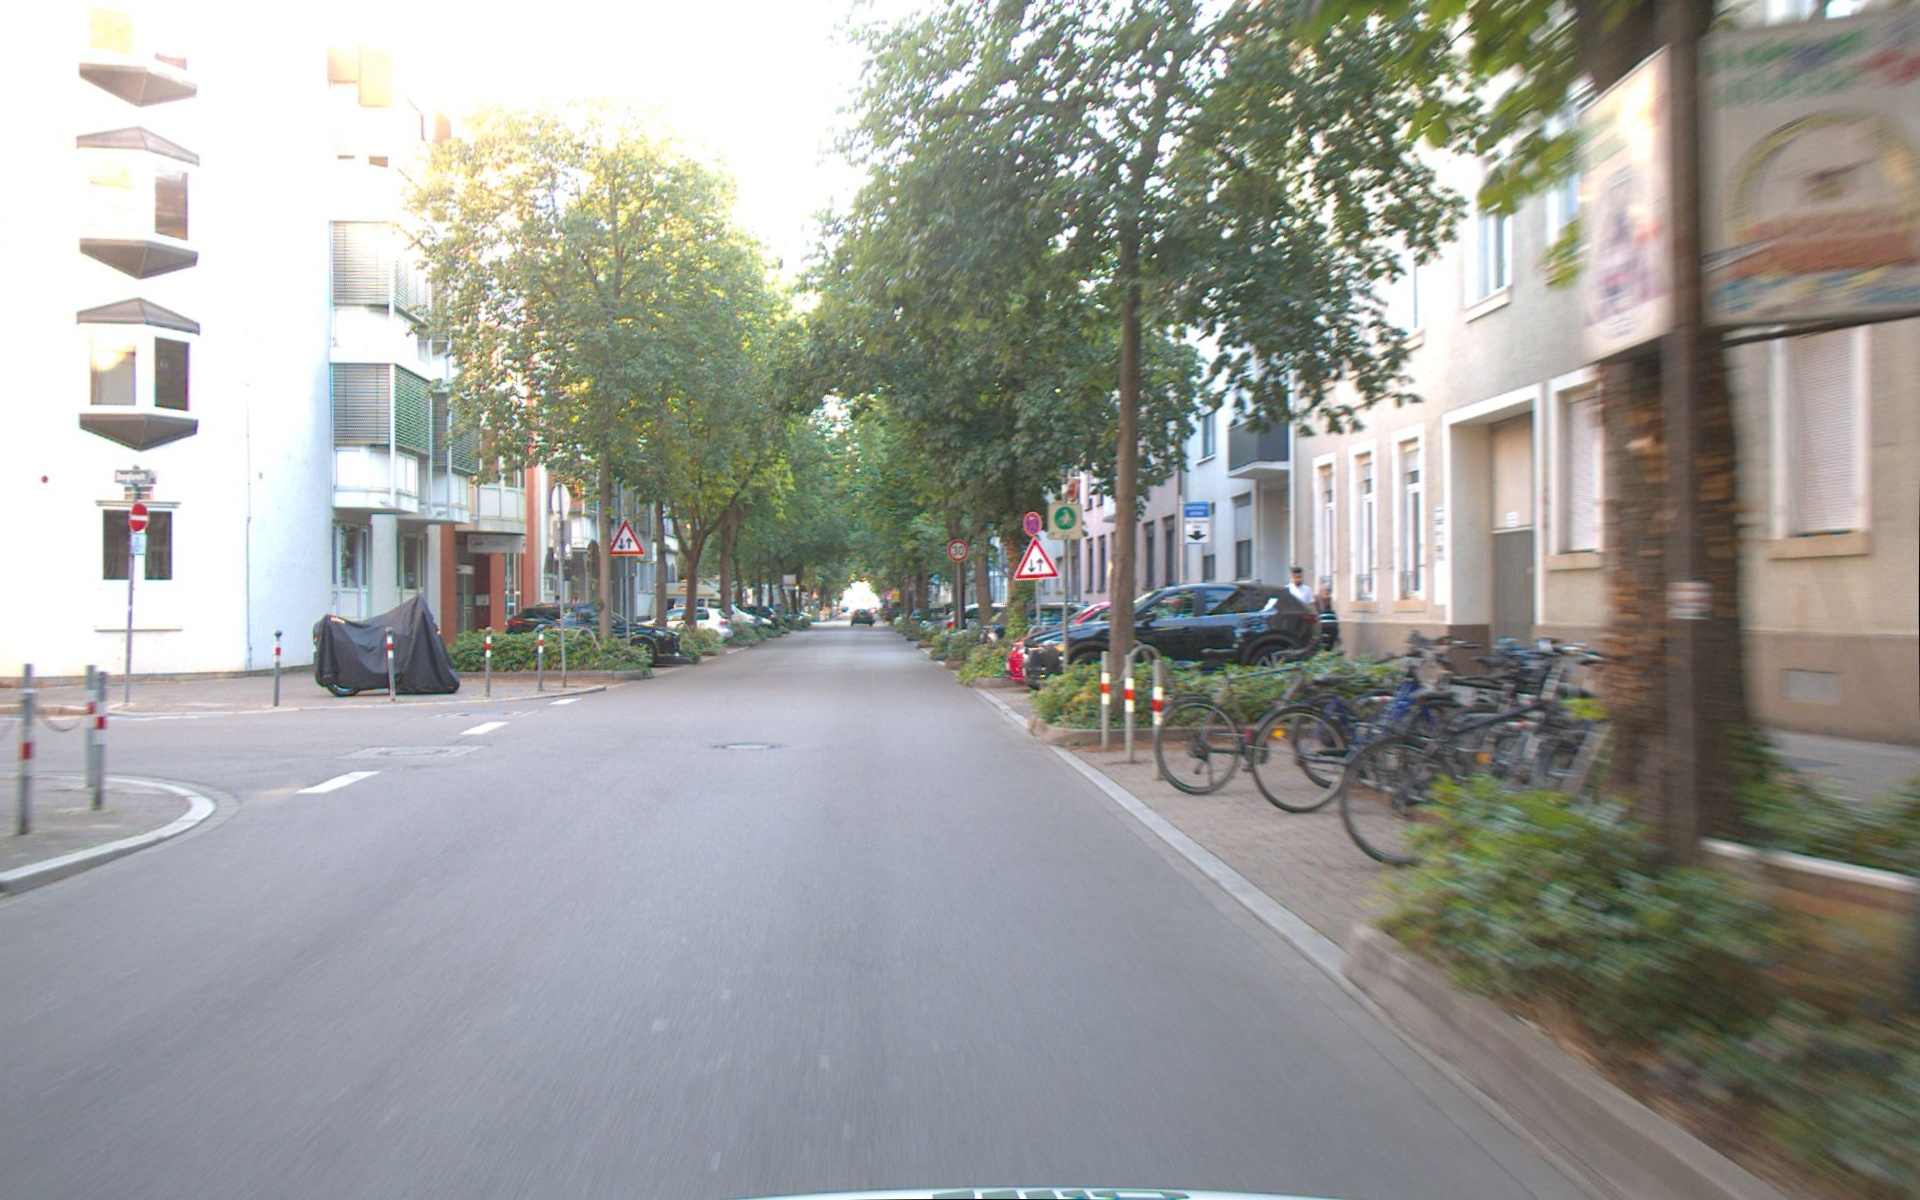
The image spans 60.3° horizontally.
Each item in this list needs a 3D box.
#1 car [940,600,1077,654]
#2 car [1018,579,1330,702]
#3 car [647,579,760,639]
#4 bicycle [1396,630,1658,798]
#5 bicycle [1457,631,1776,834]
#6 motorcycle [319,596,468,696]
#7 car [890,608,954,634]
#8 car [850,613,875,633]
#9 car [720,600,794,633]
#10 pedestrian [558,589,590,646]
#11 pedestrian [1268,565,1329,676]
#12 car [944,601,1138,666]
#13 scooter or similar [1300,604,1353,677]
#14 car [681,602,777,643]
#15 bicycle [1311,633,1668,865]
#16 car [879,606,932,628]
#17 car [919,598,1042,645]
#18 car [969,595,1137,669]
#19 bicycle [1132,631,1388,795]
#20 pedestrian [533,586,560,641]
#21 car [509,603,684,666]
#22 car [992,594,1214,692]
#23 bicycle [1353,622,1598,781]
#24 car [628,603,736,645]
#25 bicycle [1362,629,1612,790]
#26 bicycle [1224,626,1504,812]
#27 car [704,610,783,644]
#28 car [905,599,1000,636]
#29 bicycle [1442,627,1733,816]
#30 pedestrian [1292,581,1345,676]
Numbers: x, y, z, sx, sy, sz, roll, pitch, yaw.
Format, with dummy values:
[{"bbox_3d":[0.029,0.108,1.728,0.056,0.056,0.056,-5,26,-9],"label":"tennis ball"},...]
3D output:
[{"bbox_3d":[1.417,0.778,49.161,3.802,1.465,1.845,-2,0,-7],"label":"car"},{"bbox_3d":[3.101,0.574,24.611,4.337,1.685,1.899,-1,0,-2],"label":"car"},{"bbox_3d":[-10.948,0.384,70.809,4.589,2.521,1.998,0,-1,-4],"label":"car"},{"bbox_3d":[4.132,0.813,12.078,1.761,1.127,0.499,-2,0,-9],"label":"bicycle"},{"bbox_3d":[4.113,0.804,10.406,1.761,1.148,0.662,-2,0,-10],"label":"bicycle"},{"bbox_3d":[-8.863,0.698,25.890,2.178,1.507,0.854,0,1,-22],"label":"motorcycle"},{"bbox_3d":[-2.578,1.420,111.428,4.184,1.593,1.961,-2,-1,-4],"label":"car"},{"bbox_3d":[-7.906,1.856,134.423,1.918,1.593,4.279,-2,0,-3],"label":"car"},{"bbox_3d":[-13.480,1.109,110.011,4.668,2.019,1.961,-2,-1,-4],"label":"car"},{"bbox_3d":[-12.199,0.555,52.214,0.688,1.788,0.740,0,-1,20],"label":"pedestrian"},{"bbox_3d":[5.479,0.322,26.779,0.683,1.767,0.666,-1,0,-35],"label":"pedestrian"},{"bbox_3d":[1.975,0.811,41.360,4.618,1.446,2.034,-2,0,-4],"label":"car"},{"bbox_3d":[6.055,0.659,27.331,0.642,1.173,0.831,-1,0,-3],"label":"scooter or similar"},{"bbox_3d":[-11.574,1.131,83.224,4.590,1.886,1.961,-2,-1,-4],"label":"car"},{"bbox_3d":[2.989,0.820,9.421,1.794,1.199,0.672,-2,0,-5],"label":"bicycle"},{"bbox_3d":[-4.431,1.361,134.293,4.184,1.593,1.961,-2,-1,-4],"label":"car"},{"bbox_3d":[0.761,0.793,63.090,4.622,1.740,1.949,0,0,-2],"label":"car"},{"bbox_3d":[2.013,0.682,36.451,3.416,1.478,1.897,-2,0,-6],"label":"car"},{"bbox_3d":[2.330,0.851,12.915,1.806,1.155,0.742,-2,0,-14],"label":"bicycle"},{"bbox_3d":[-13.378,0.437,53.523,0.689,1.758,0.904,0,-1,-3],"label":"pedestrian"},{"bbox_3d":[-9.083,0.847,41.621,4.046,1.512,1.927,1,0,-5],"label":"car"},{"bbox_3d":[2.353,0.696,27.819,3.416,1.478,1.897,-2,0,-6],"label":"car"},{"bbox_3d":[4.132,0.793,13.285,1.763,1.163,0.667,-2,0,-13],"label":"bicycle"},{"bbox_3d":[-10.491,0.896,62.532,3.792,1.512,1.756,1,0,-2],"label":"car"},{"bbox_3d":[4.001,0.816,12.590,1.761,1.127,0.499,-2,0,-9],"label":"bicycle"},{"bbox_3d":[2.819,0.816,11.617,1.794,1.199,0.600,-2,0,-5],"label":"bicycle"},{"bbox_3d":[-11.902,1.482,90.933,4.120,1.664,1.961,-2,-1,-4],"label":"car"},{"bbox_3d":[-0.363,0.821,78.401,4.416,1.548,1.995,-2,-1,0],"label":"car"},{"bbox_3d":[4.251,0.796,11.234,1.763,1.163,0.649,-2,0,-12],"label":"bicycle"},{"bbox_3d":[6.026,0.473,27.829,0.642,1.563,0.831,-1,0,-3],"label":"pedestrian"}]
